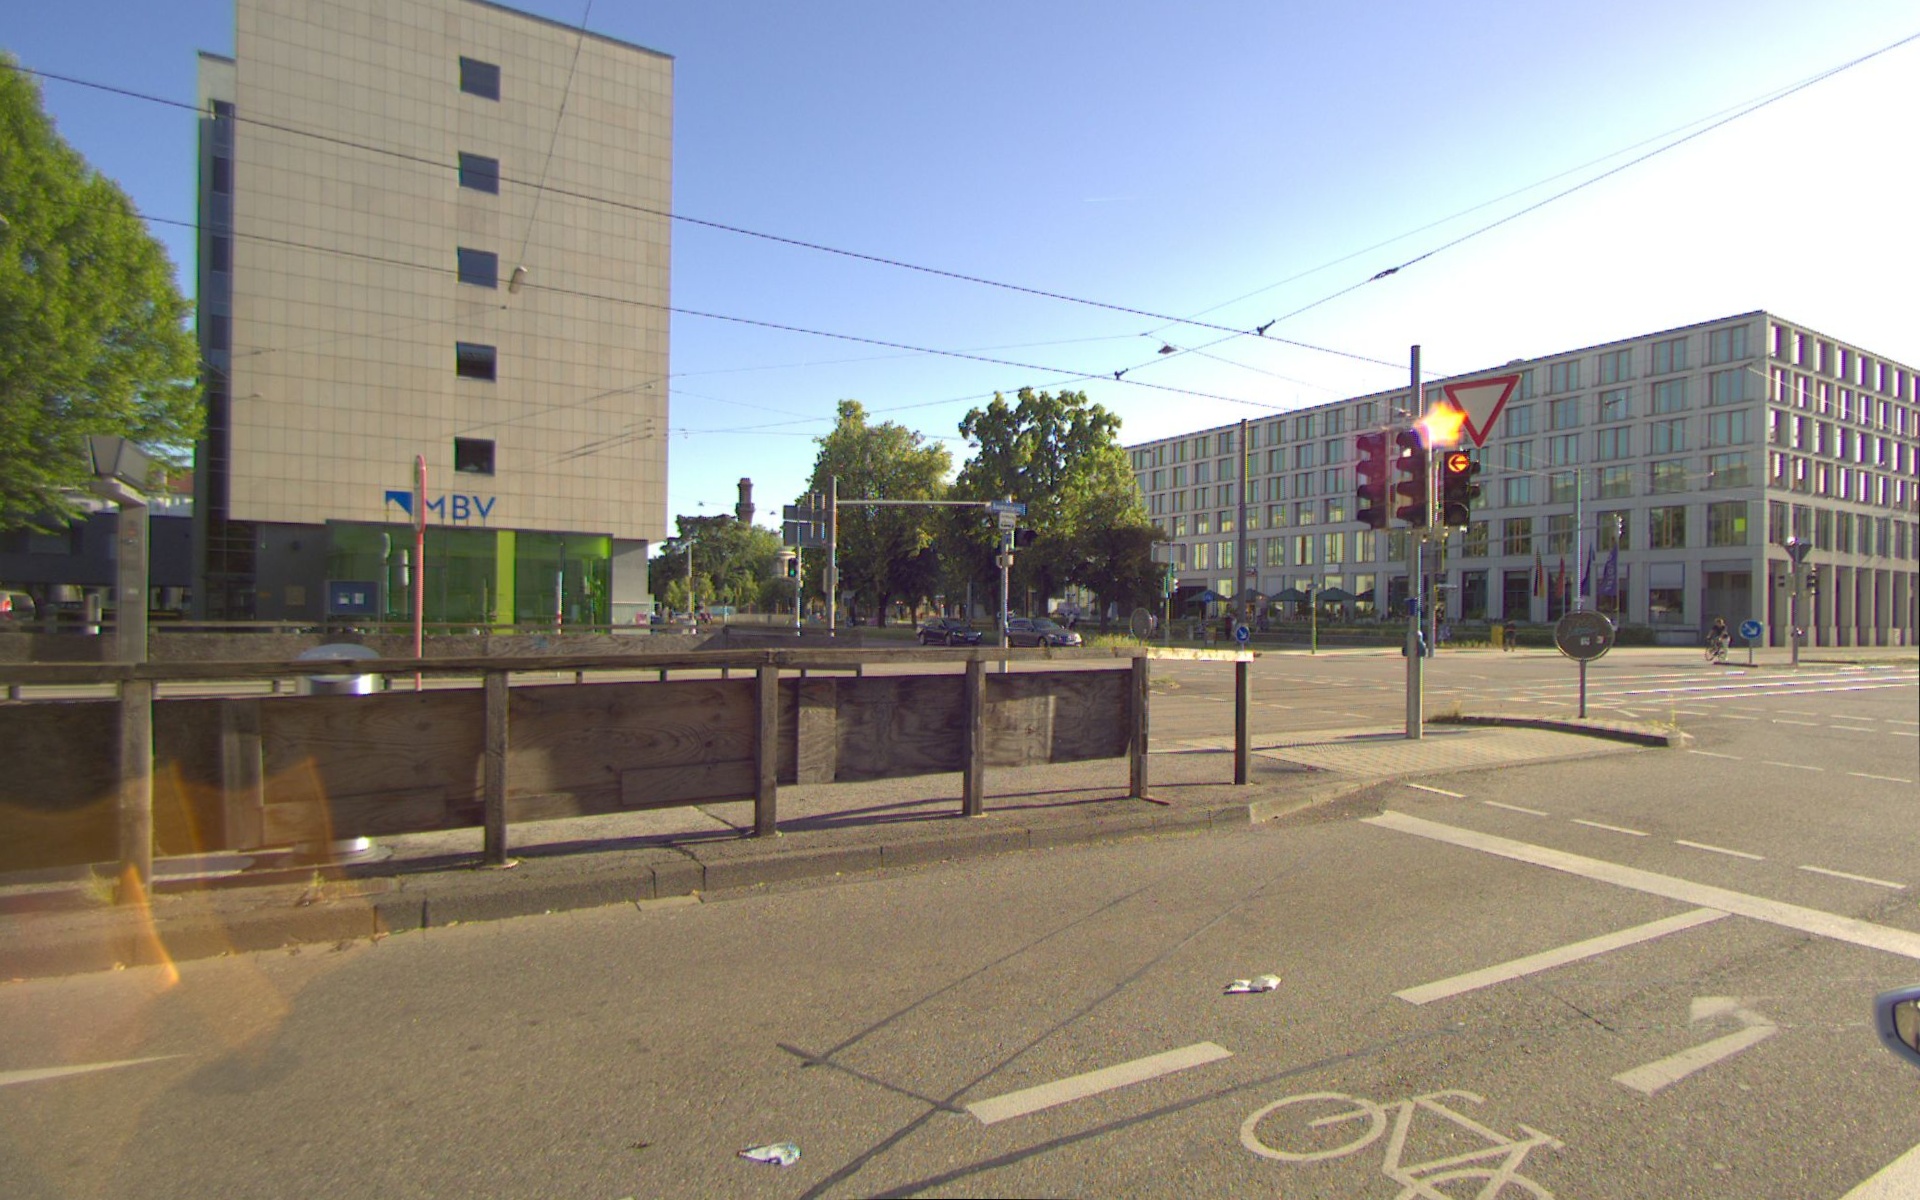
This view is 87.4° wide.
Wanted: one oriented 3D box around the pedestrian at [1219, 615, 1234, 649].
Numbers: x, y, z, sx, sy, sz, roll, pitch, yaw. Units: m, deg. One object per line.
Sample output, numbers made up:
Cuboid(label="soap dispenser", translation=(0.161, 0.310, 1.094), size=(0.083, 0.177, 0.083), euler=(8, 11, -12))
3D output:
Cuboid(label="pedestrian", translation=(16.444, 1.987, 62.020), size=(0.644, 2.096, 0.645), euler=(2, -2, -36))

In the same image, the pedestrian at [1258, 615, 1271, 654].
Cuboid(label="pedestrian", translation=(18.575, 2.102, 61.258), size=(0.528, 2.310, 0.565), euler=(1, -1, -36))

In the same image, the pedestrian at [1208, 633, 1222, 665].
Cuboid(label="pedestrian", translation=(16.535, 3.142, 65.092), size=(0.793, 2.040, 0.526), euler=(1, -1, -36))

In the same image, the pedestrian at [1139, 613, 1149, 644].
Cuboid(label="pedestrian", translation=(12.352, 1.924, 67.346), size=(0.483, 2.040, 0.493), euler=(1, -1, -17))

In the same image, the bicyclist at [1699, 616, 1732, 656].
Cuboid(label="bicyclist", translation=(31.923, 1.517, 42.433), size=(0.812, 1.663, 0.872), euler=(1, -1, -29))

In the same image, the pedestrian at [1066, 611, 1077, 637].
Cuboid(label="pedestrian", translation=(8.354, 1.767, 75.291), size=(0.672, 1.928, 0.560), euler=(1, -1, -21))

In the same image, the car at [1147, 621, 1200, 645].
Cuboid(label="car", translation=(13.427, 2.087, 63.280), size=(1.454, 1.457, 3.168), euler=(1, -1, -31))

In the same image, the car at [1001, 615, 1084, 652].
Cuboid(label="car", translation=(3.727, 1.509, 45.825), size=(1.708, 1.595, 4.140), euler=(1, -1, -31))

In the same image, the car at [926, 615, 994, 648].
Cuboid(label="car", translation=(-0.031, 1.593, 52.293), size=(1.801, 1.595, 3.967), euler=(0, 0, -31))

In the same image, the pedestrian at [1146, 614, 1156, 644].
Cuboid(label="pedestrian", translation=(12.877, 1.941, 67.725), size=(0.483, 2.040, 0.493), euler=(1, -1, -17))

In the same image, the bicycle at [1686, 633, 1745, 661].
Cuboid(label="bicycle", translation=(31.934, 1.986, 42.438), size=(2.976, 1.136, 0.871), euler=(1, -1, -29))
